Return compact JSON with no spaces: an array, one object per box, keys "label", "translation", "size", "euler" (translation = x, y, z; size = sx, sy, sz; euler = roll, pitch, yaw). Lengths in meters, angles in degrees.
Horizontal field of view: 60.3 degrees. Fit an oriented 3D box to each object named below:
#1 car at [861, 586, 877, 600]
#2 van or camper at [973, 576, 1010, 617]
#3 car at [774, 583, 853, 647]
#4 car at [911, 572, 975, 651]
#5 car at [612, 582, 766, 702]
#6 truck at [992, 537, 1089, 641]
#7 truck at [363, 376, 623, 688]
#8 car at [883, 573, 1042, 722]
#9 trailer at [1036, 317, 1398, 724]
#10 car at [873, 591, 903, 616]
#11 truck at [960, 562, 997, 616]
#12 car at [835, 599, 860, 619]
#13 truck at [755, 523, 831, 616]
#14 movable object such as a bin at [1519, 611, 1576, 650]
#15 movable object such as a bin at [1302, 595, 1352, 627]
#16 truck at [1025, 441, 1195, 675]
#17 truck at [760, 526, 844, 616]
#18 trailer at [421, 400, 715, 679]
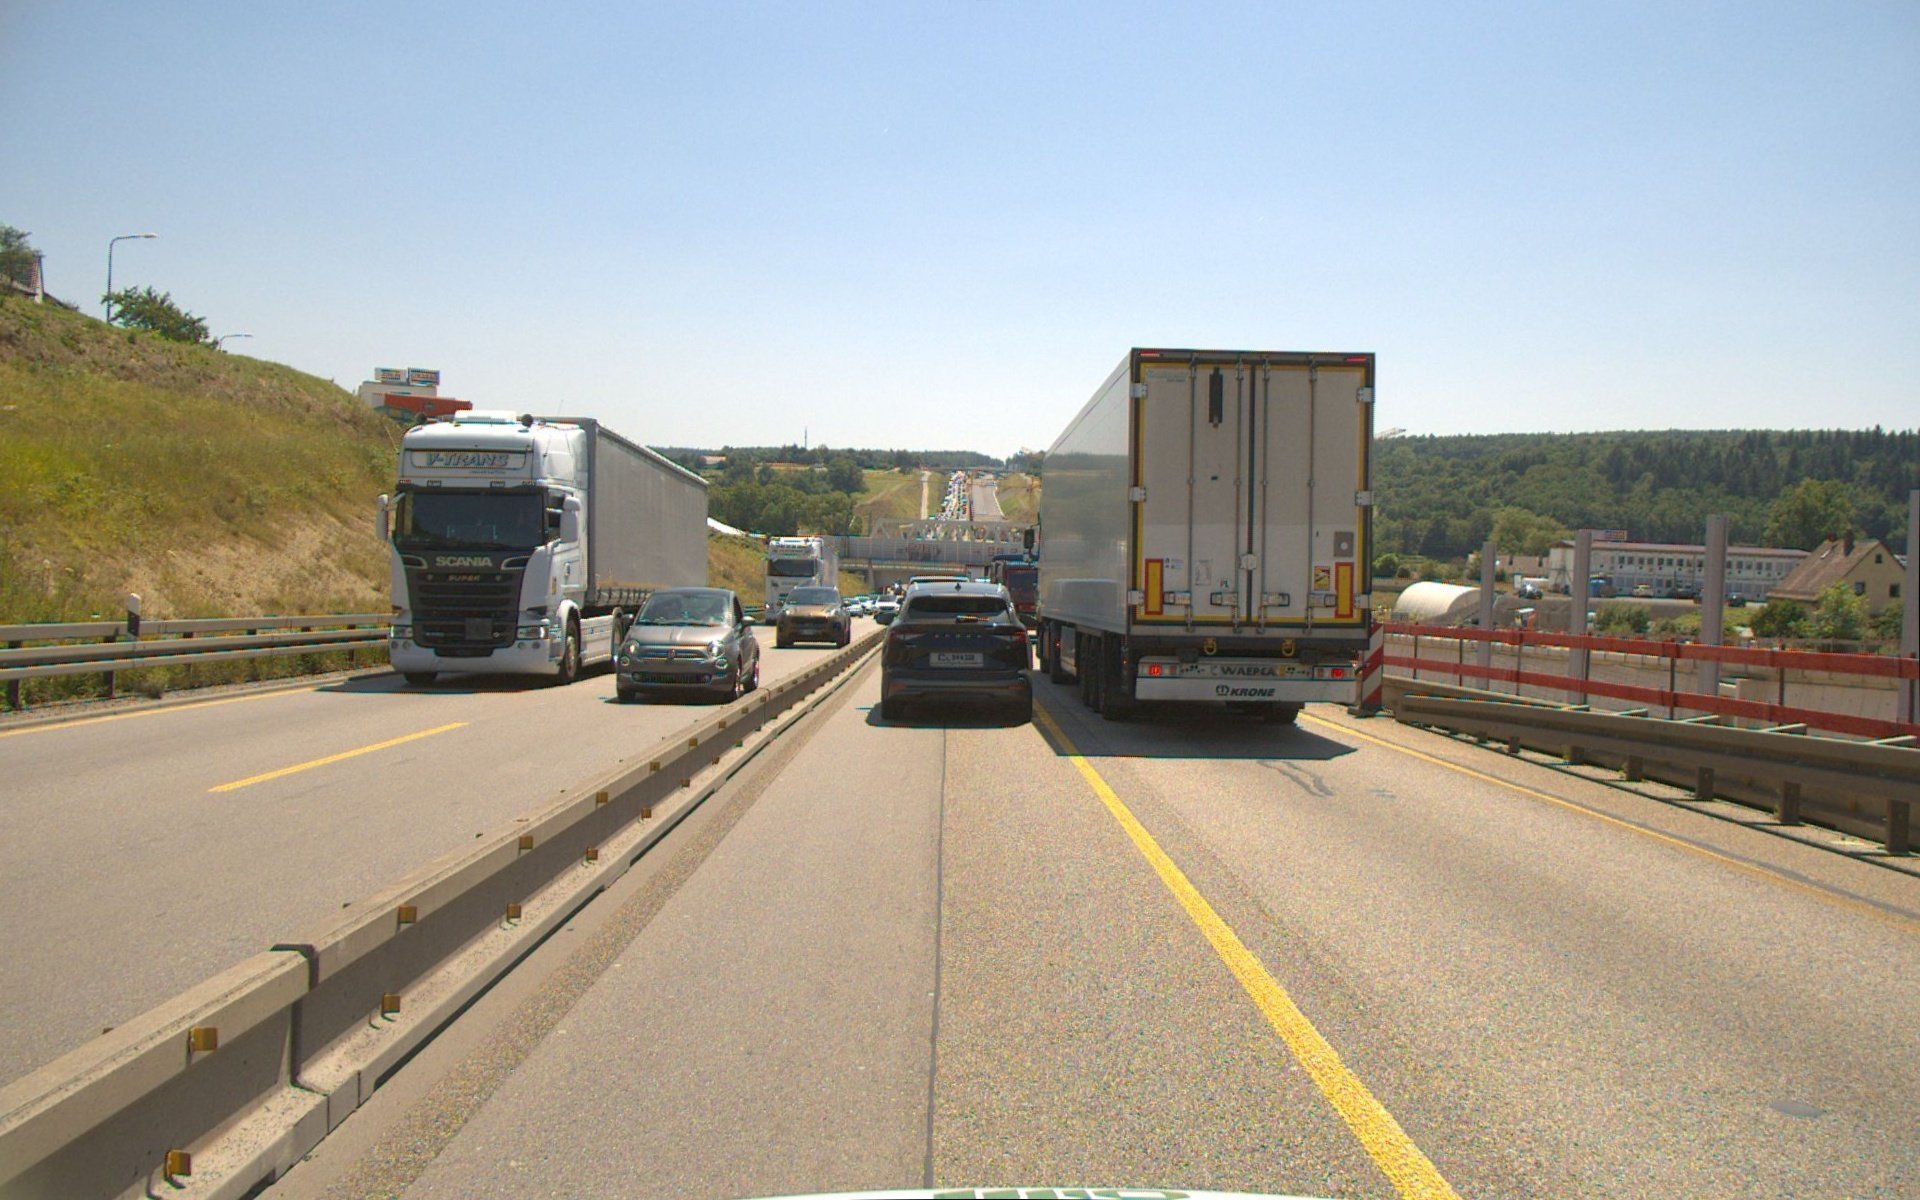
[{"label":"car","translation":[-9.658,-0.732,175.344],"size":[1.614,1.440,3.998],"euler":[0,0,-3]},{"label":"van or camper","translation":[1.816,-0.220,96.748],"size":[1.953,2.283,4.000],"euler":[2,0,0]},{"label":"car","translation":[-3.933,0.384,44.890],"size":[1.811,1.614,4.173],"euler":[1,0,-1]},{"label":"car","translation":[-0.385,0.258,40.972],"size":[1.444,1.826,3.298],"euler":[1,0,1]},{"label":"car","translation":[-3.653,0.525,22.770],"size":[1.595,1.505,3.379],"euler":[1,0,-1]},{"label":"truck","translation":[2.614,-0.313,57.783],"size":[2.756,3.190,12.837],"euler":[1,0,0]},{"label":"truck","translation":[-7.086,-0.970,25.762],"size":[2.718,4.361,4.675],"euler":[1,0,-1]},{"label":"car","translation":[0.014,0.518,20.196],"size":[1.764,1.648,3.297],"euler":[1,0,-1]},{"label":"trailer","translation":[2.957,-0.771,23.962],"size":[2.745,4.129,14.112],"euler":[1,0,-1]},{"label":"car","translation":[-4.888,0.241,112.759],"size":[1.775,1.666,4.362],"euler":[1,0,0]},{"label":"truck","translation":[1.412,-0.897,129.906],"size":[2.467,4.028,7.598],"euler":[2,0,-1]},{"label":"car","translation":[-8.182,0.617,120.580],"size":[1.667,1.403,3.966],"euler":[1,0,-1]},{"label":"truck","translation":[-7.850,-1.402,78.209],"size":[3.173,4.232,4.246],"euler":[1,0,-1]},{"label":"movable object such as a bin","translation":[35.694,1.826,100.606],"size":[1.953,2.278,4.151],"euler":[1,0,0]},{"label":"movable object such as a bin","translation":[35.790,1.061,161.563],"size":[2.828,2.960,9.478],"euler":[1,0,0]},{"label":"truck","translation":[2.768,-0.732,31.894],"size":[2.720,4.129,4.903],"euler":[1,0,-1]},{"label":"truck","translation":[-8.000,-1.393,85.433],"size":[3.177,4.232,13.975],"euler":[1,0,-1]},{"label":"trailer","translation":[-7.246,-0.996,33.210],"size":[2.753,4.361,14.032],"euler":[1,0,-1]}]
